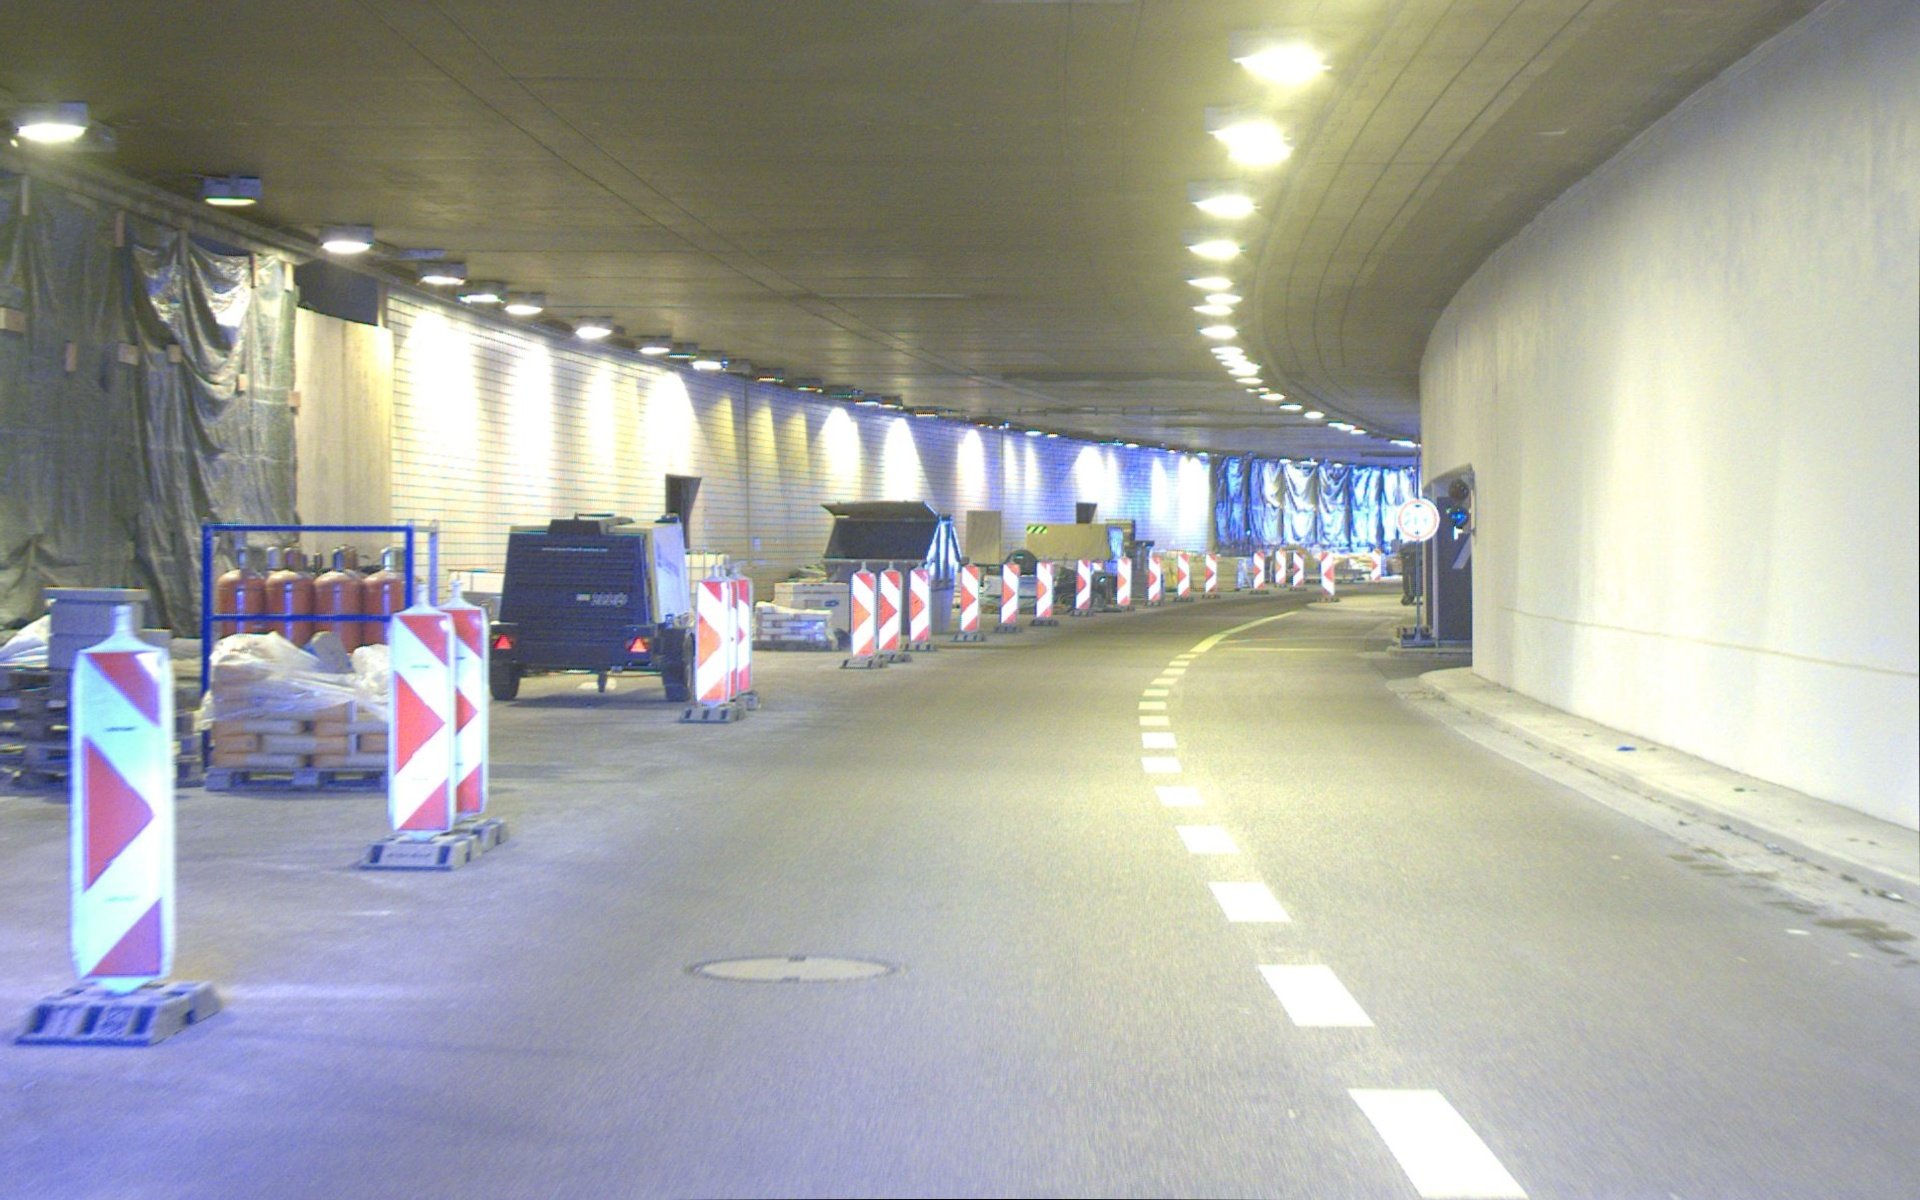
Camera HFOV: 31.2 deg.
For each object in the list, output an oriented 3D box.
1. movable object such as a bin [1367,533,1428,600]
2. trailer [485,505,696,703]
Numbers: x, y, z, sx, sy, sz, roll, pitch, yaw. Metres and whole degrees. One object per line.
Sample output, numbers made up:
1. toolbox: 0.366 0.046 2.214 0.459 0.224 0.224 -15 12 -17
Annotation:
1. movable object such as a bin: 9.791 -0.753 76.873 1.195 1.455 1.604 -2 1 11
2. trailer: -3.479 0.016 32.804 1.580 1.792 2.939 0 1 2
